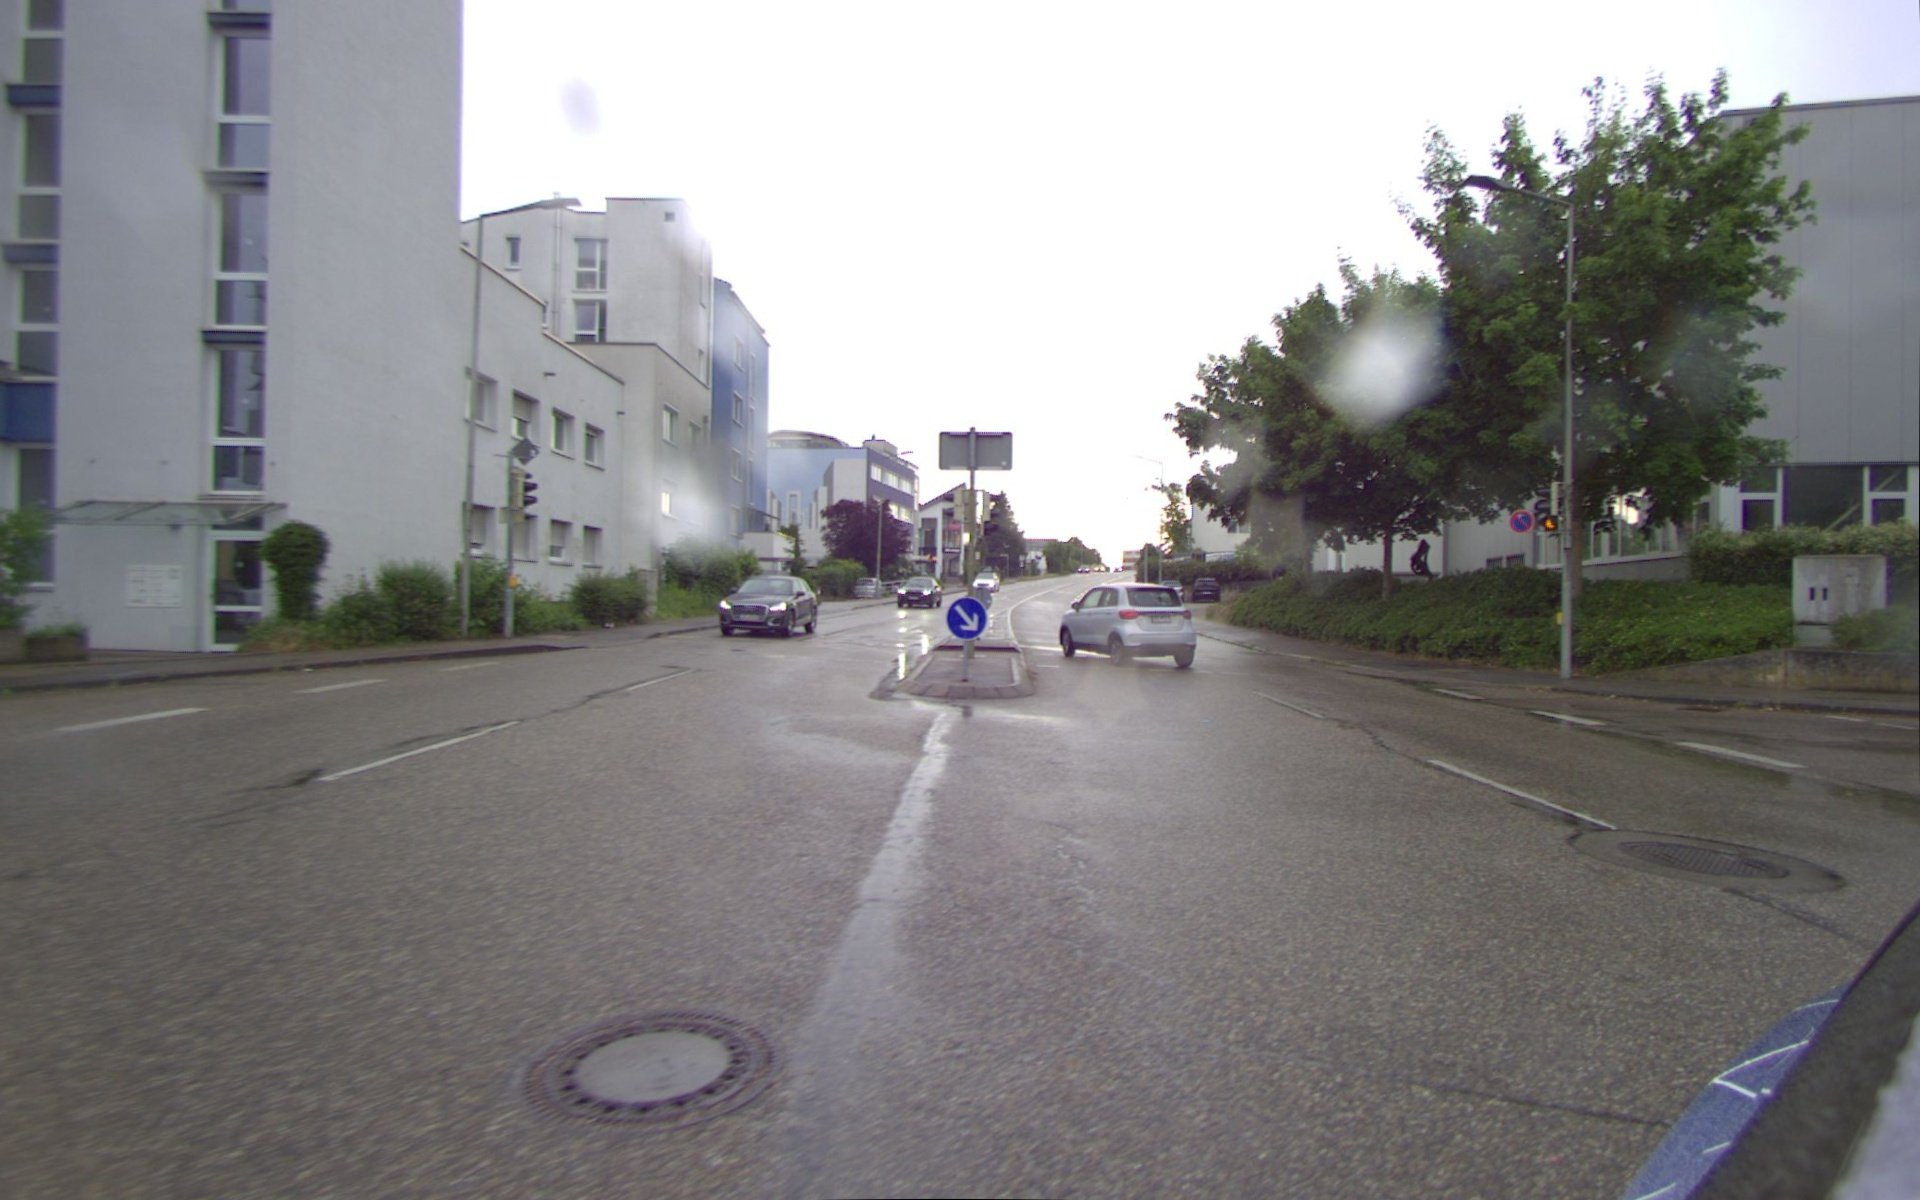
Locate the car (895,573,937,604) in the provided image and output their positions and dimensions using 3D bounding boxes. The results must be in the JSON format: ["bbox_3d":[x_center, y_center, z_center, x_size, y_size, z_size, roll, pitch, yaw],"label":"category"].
[{"bbox_3d":[-2.194,-0.607,51.229,1.723,1.497,3.997,0,1,3],"label":"car"}]

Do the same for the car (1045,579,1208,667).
[{"bbox_3d":[3.263,0.370,20.630,1.659,1.574,3.916,-1,2,-18],"label":"car"}]

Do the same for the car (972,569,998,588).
[{"bbox_3d":[2.073,-1.763,82.958,1.866,1.564,4.016,0,1,5],"label":"car"}]

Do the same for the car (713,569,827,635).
[{"bbox_3d":[-4.792,-0.019,26.117,1.713,1.504,4.142,2,2,7],"label":"car"}]

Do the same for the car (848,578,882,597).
[{"bbox_3d":[-6.840,-0.924,73.372,1.631,1.303,3.874,0,1,8],"label":"car"}]

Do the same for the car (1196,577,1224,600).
[{"bbox_3d":[16.629,-0.800,67.427,1.712,1.497,4.005,0,1,13],"label":"car"}]

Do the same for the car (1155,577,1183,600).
[{"bbox_3d":[13.989,-0.777,67.712,1.712,1.497,4.005,0,1,13],"label":"car"}]

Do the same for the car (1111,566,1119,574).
[{"bbox_3d":[34.918,-6.848,227.944,1.800,1.708,3.990,2,1,9],"label":"car"}]
